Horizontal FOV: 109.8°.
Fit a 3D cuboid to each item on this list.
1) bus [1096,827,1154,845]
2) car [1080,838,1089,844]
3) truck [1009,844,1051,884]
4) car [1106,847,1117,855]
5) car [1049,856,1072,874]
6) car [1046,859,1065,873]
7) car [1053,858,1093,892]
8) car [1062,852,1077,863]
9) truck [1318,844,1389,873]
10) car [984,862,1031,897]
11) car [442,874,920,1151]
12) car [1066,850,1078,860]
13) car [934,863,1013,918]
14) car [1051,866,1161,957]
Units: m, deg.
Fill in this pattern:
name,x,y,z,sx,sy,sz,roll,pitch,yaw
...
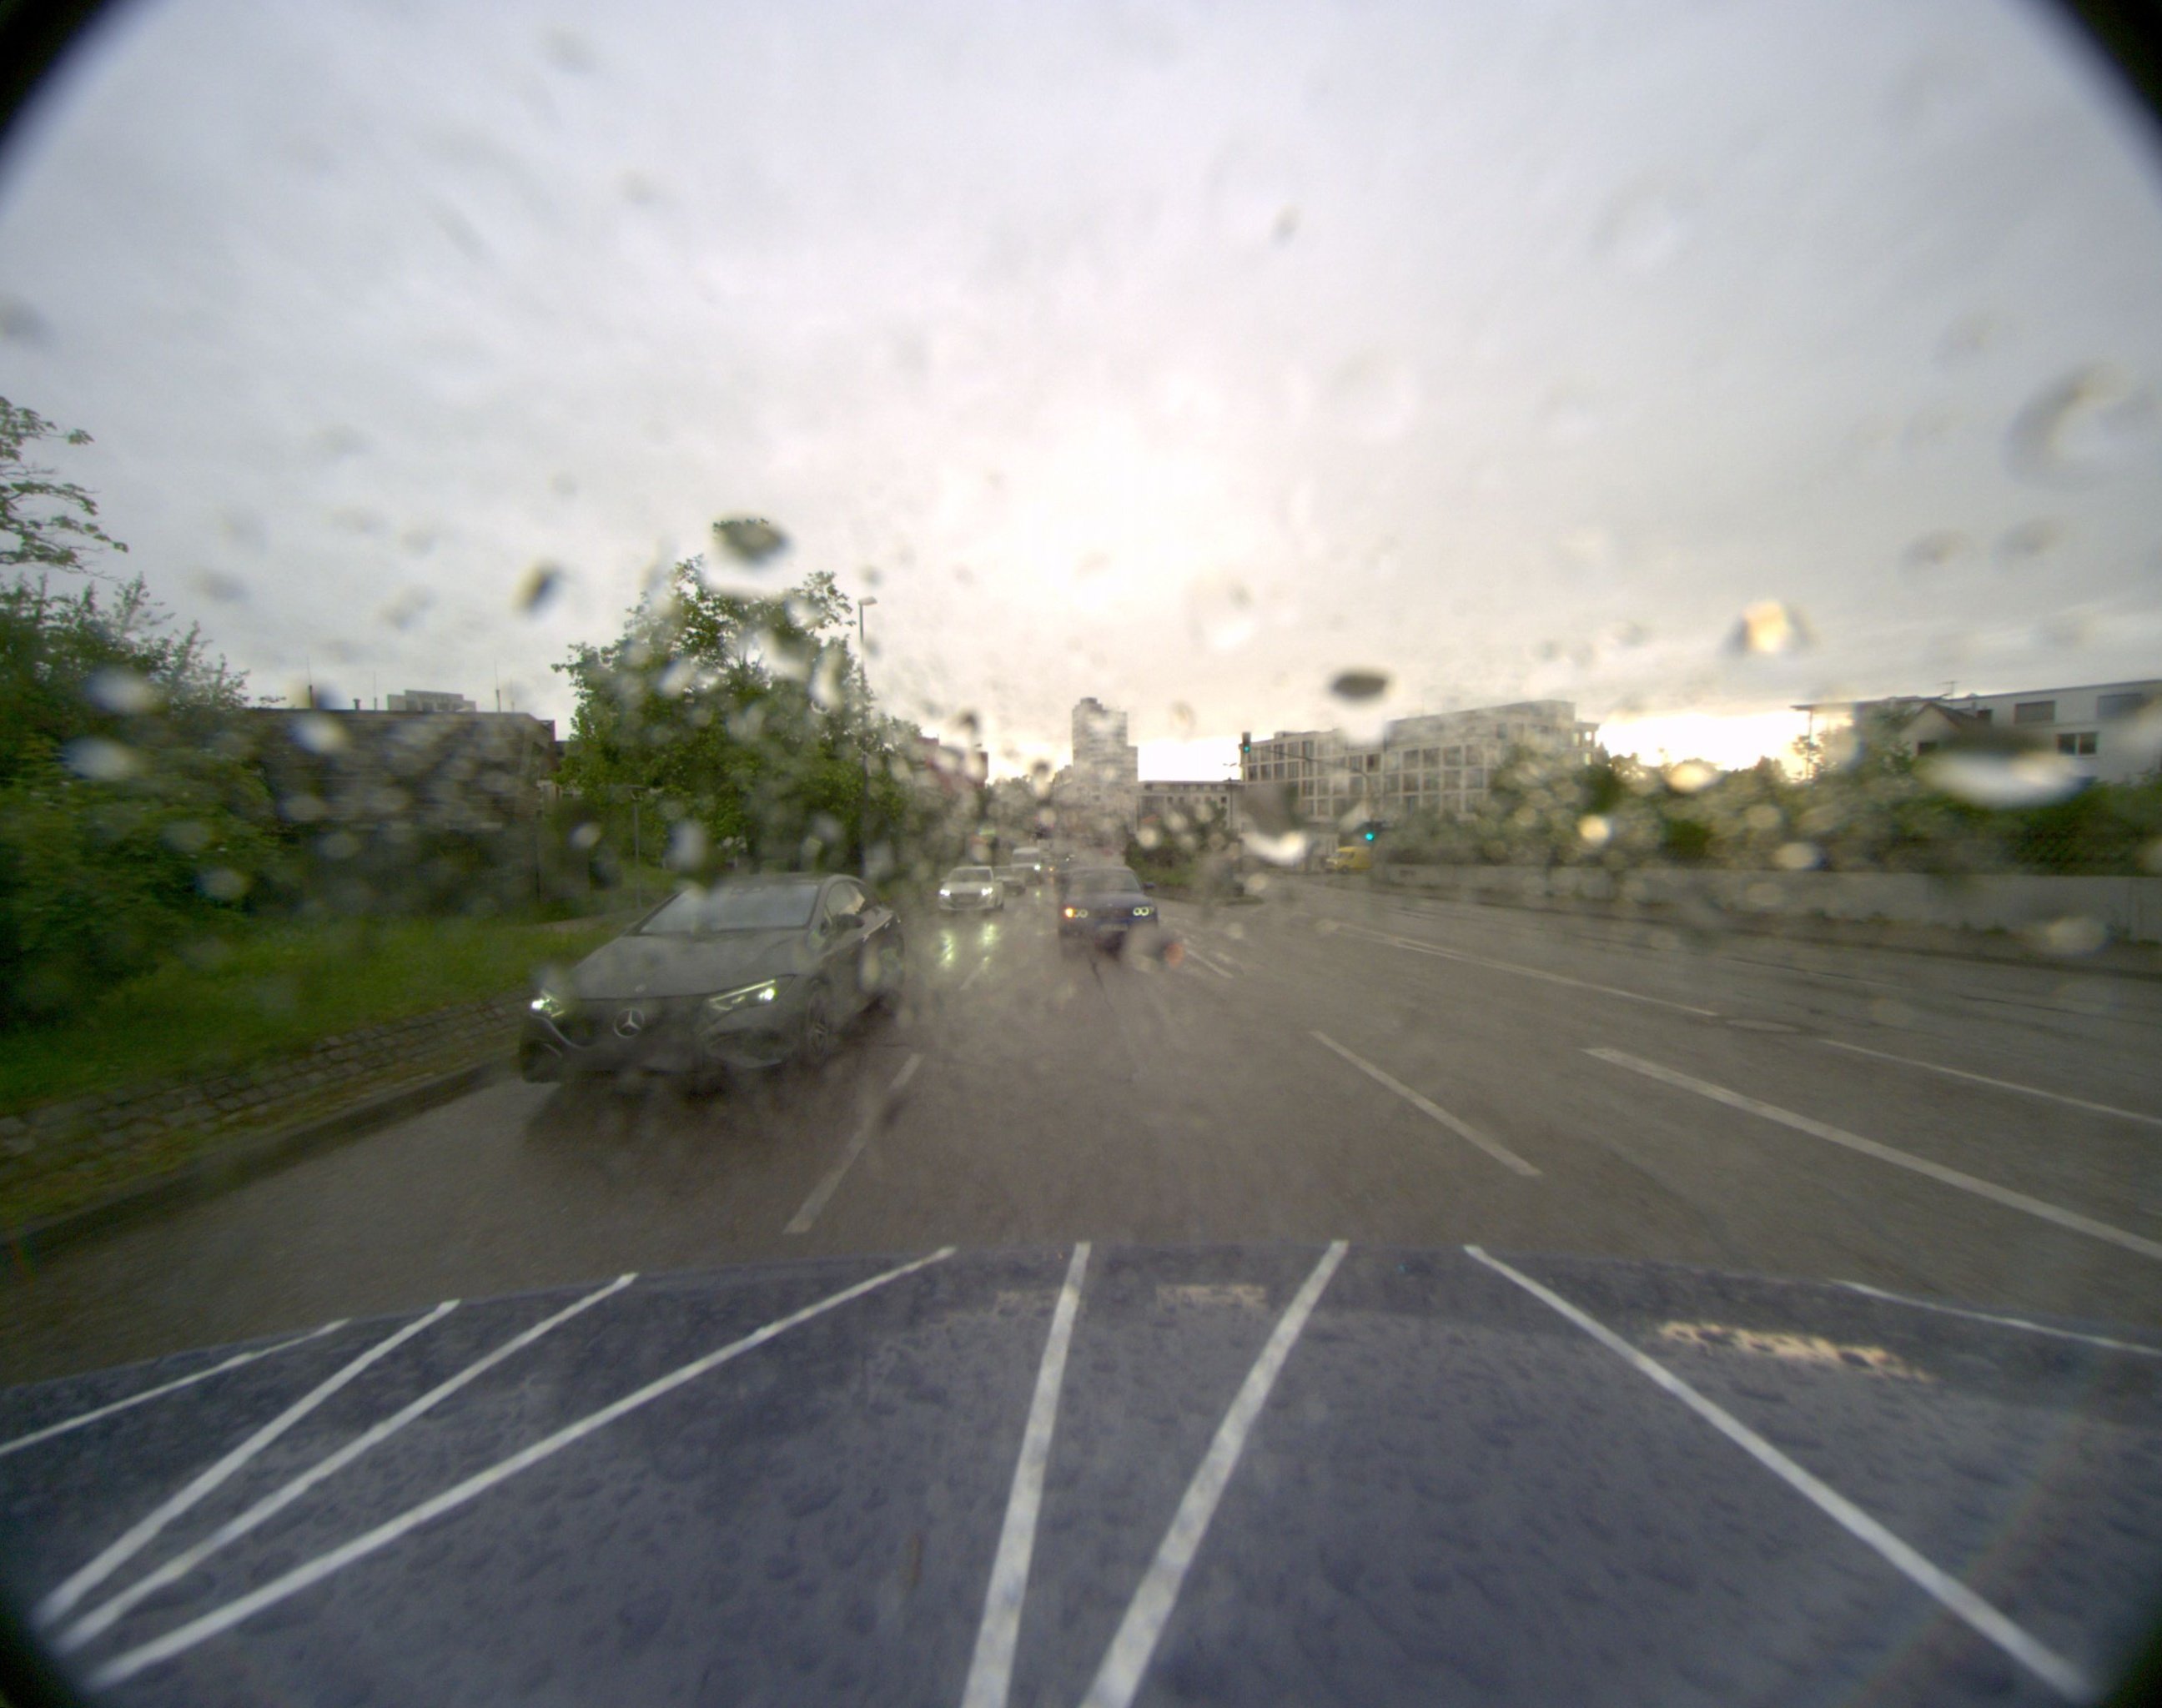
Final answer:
name,x,y,z,sx,sy,sz,roll,pitch,yaw
bus,9.604,-3.998,170.192,2.958,3.972,18.180,-1,2,-31
car,0.822,-3.063,178.453,1.907,1.543,4.074,-1,1,1
truck,-3.414,0.612,51.808,2.168,2.425,6.199,-2,1,2
car,5.698,-0.546,143.399,1.998,1.406,4.430,-1,1,1
car,-1.822,0.960,69.643,1.999,1.543,3.999,-2,0,-1
car,-2.945,1.349,87.872,1.999,1.543,3.999,-2,0,-1
car,-0.339,0.983,36.554,1.718,1.369,3.734,-3,1,2
car,-1.650,0.454,109.335,1.999,1.543,3.999,-2,0,-1
truck,24.515,0.405,68.266,6.184,2.524,2.223,0,2,-26
car,-3.456,1.180,36.363,1.718,1.369,3.734,-3,1,2
car,-2.936,1.036,6.936,1.836,1.436,4.550,-3,1,1
car,-1.467,0.180,126.251,1.999,1.543,3.999,-2,0,-1
car,-3.290,1.068,23.995,1.718,1.389,4.035,-3,1,2
car,0.478,0.980,14.428,1.787,1.335,3.704,-2,1,2
